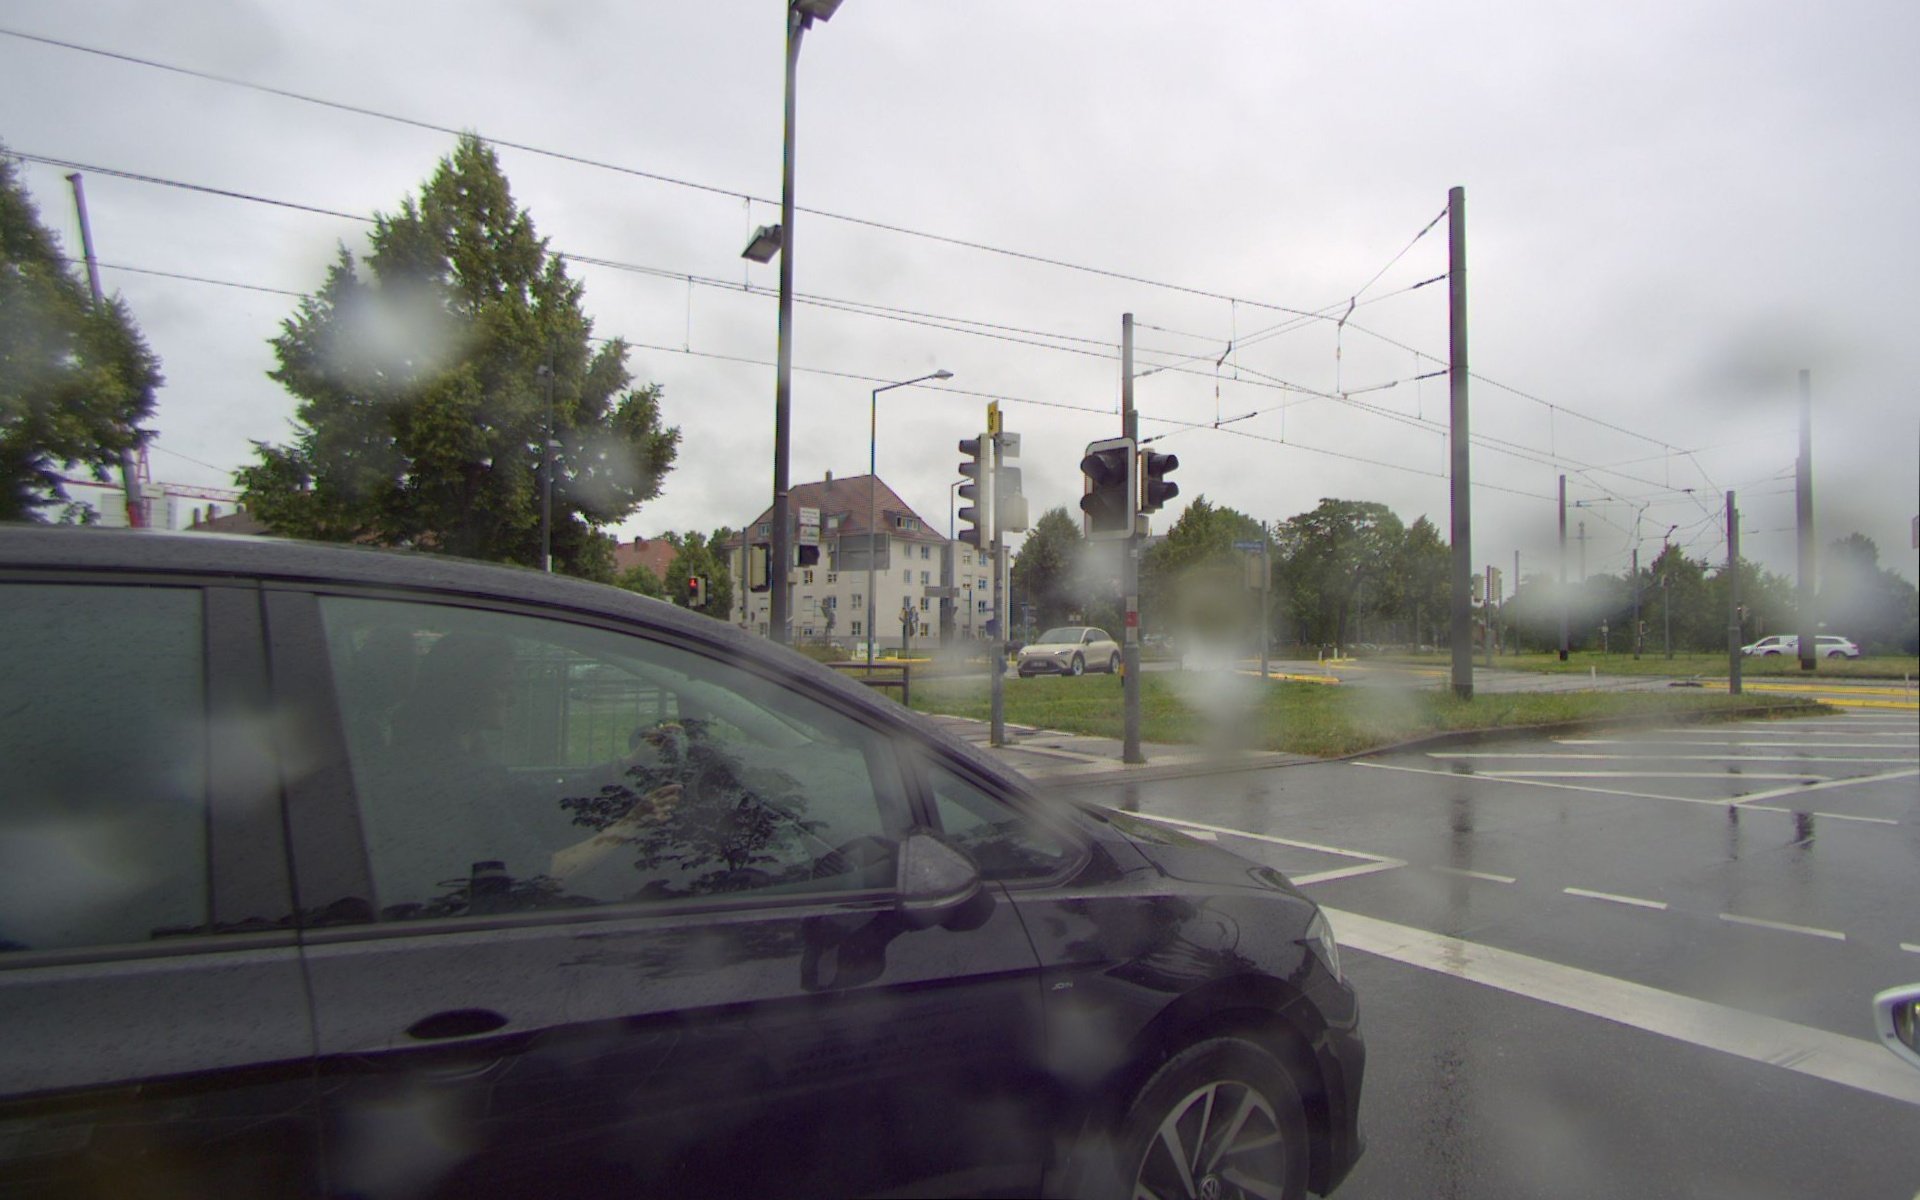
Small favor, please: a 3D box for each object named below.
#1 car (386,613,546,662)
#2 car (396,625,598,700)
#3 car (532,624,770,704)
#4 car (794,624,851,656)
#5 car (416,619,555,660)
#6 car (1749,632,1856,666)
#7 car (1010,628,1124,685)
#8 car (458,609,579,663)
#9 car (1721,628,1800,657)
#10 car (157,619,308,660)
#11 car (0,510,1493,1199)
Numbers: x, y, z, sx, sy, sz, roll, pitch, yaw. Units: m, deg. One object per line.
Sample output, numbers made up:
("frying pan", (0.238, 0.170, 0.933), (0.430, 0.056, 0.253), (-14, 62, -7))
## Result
("car", (-22.681, 1.723, 46.468), (6.329, 2.040, 2.346), (2, 0, -20))
("car", (-10.520, 1.378, 22.905), (3.958, 1.506, 1.814), (2, 0, -33))
("car", (-6.616, 1.321, 21.767), (4.584, 1.506, 1.812), (2, 0, -37))
("car", (-11.306, 3.239, 82.443), (4.771, 2.358, 1.989), (2, 0, 42))
("car", (-24.834, 2.073, 52.907), (6.329, 2.040, 2.347), (1, -2, -20))
("car", (50.424, 2.890, 60.249), (4.787, 1.767, 1.771), (2, 0, 36))
("car", (3.294, 1.627, 30.306), (1.819, 1.506, 4.217), (2, 0, 31))
("car", (-26.125, 2.153, 59.793), (6.329, 2.978, 2.346), (2, 0, -20))
("car", (51.669, 2.714, 64.937), (3.786, 1.642, 1.540), (2, 0, 31))
("car", (-39.521, 2.107, 54.720), (2.325, 2.040, 6.388), (2, 0, 44))
("car", (-1.080, 0.680, 1.980), (4.282, 1.537, 1.775), (2, 0, -30))
